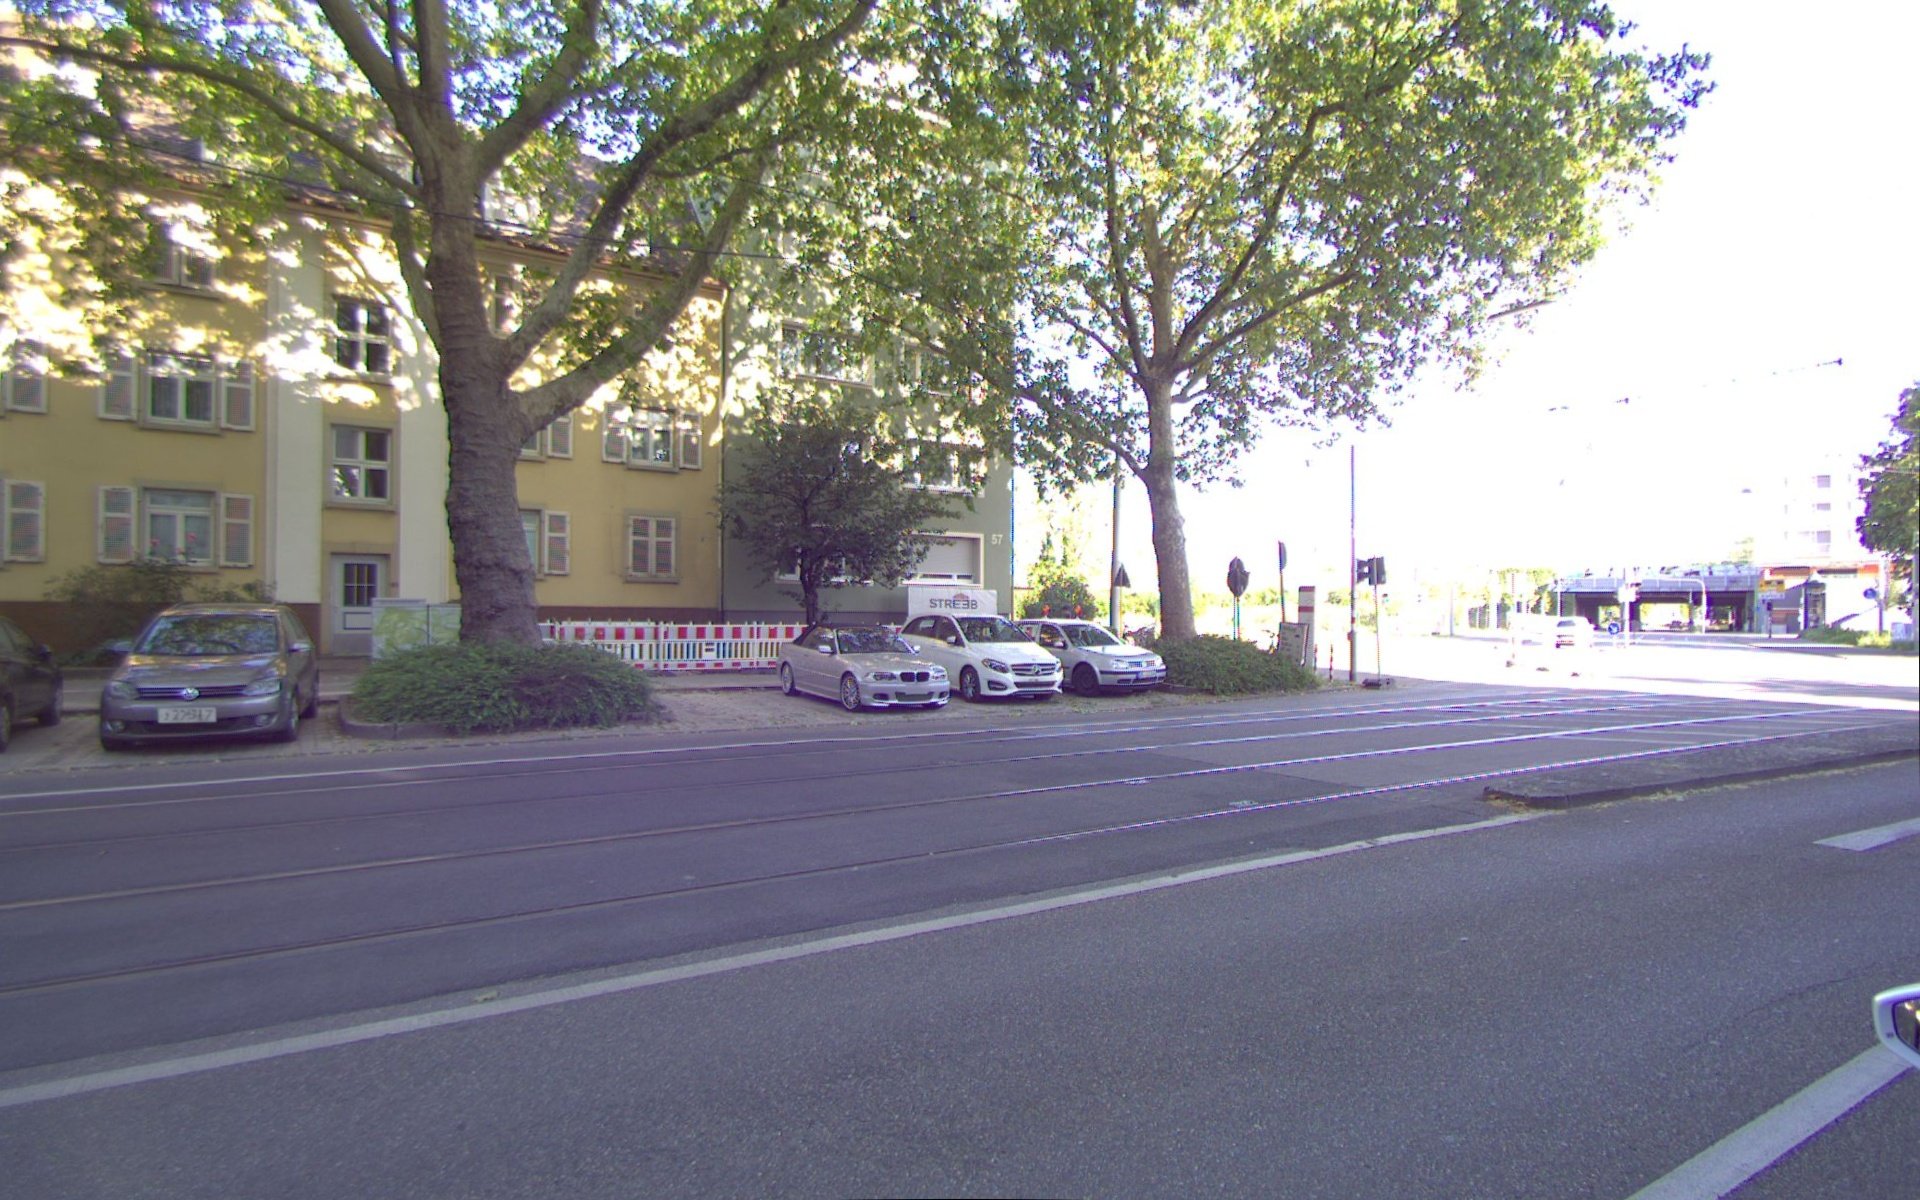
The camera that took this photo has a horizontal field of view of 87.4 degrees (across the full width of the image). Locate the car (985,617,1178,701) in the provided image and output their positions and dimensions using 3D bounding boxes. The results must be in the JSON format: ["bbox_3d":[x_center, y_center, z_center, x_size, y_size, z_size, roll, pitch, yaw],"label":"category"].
[{"bbox_3d":[2.379,1.127,20.546,1.688,1.436,3.959,2,0,-36],"label":"car"}]

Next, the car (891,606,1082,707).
[{"bbox_3d":[0.378,0.993,19.164,1.822,1.633,4.052,2,0,-29],"label":"car"}]

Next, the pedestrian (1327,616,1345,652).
[{"bbox_3d":[17.164,1.534,45.815,0.591,1.617,0.682,2,0,35],"label":"pedestrian"}]

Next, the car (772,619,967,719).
[{"bbox_3d":[-1.686,1.093,17.273,1.822,1.387,4.052,2,0,-29],"label":"car"}]

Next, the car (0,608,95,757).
[{"bbox_3d":[-11.440,0.858,11.407,1.673,1.466,3.834,2,0,-29],"label":"car"}]

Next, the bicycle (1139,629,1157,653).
[{"bbox_3d":[6.442,1.399,34.461,0.351,0.769,1.781,0,-1,1],"label":"bicycle"}]

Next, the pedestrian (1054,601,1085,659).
[{"bbox_3d":[3.050,0.831,27.985,0.592,1.589,0.741,0,-1,33],"label":"pedestrian"}]

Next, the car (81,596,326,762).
[{"bbox_3d":[-9.003,0.810,12.318,1.822,1.641,4.052,2,0,-29],"label":"car"}]

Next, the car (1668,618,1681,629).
[{"bbox_3d":[138.461,4.551,194.629,1.966,2.040,3.989,2,0,34],"label":"car"}]

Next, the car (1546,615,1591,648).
[{"bbox_3d":[32.803,1.659,54.245,1.964,1.653,4.622,0,-1,30],"label":"car"}]

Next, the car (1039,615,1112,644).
[{"bbox_3d":[7.014,1.782,61.032,3.933,1.439,1.887,0,5,35],"label":"car"}]

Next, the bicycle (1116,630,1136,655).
[{"bbox_3d":[5.357,1.354,32.349,0.351,0.769,1.781,0,-1,18],"label":"bicycle"}]

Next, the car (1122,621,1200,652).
[{"bbox_3d":[11.531,2.081,57.645,3.933,1.439,1.887,0,5,35],"label":"car"}]
